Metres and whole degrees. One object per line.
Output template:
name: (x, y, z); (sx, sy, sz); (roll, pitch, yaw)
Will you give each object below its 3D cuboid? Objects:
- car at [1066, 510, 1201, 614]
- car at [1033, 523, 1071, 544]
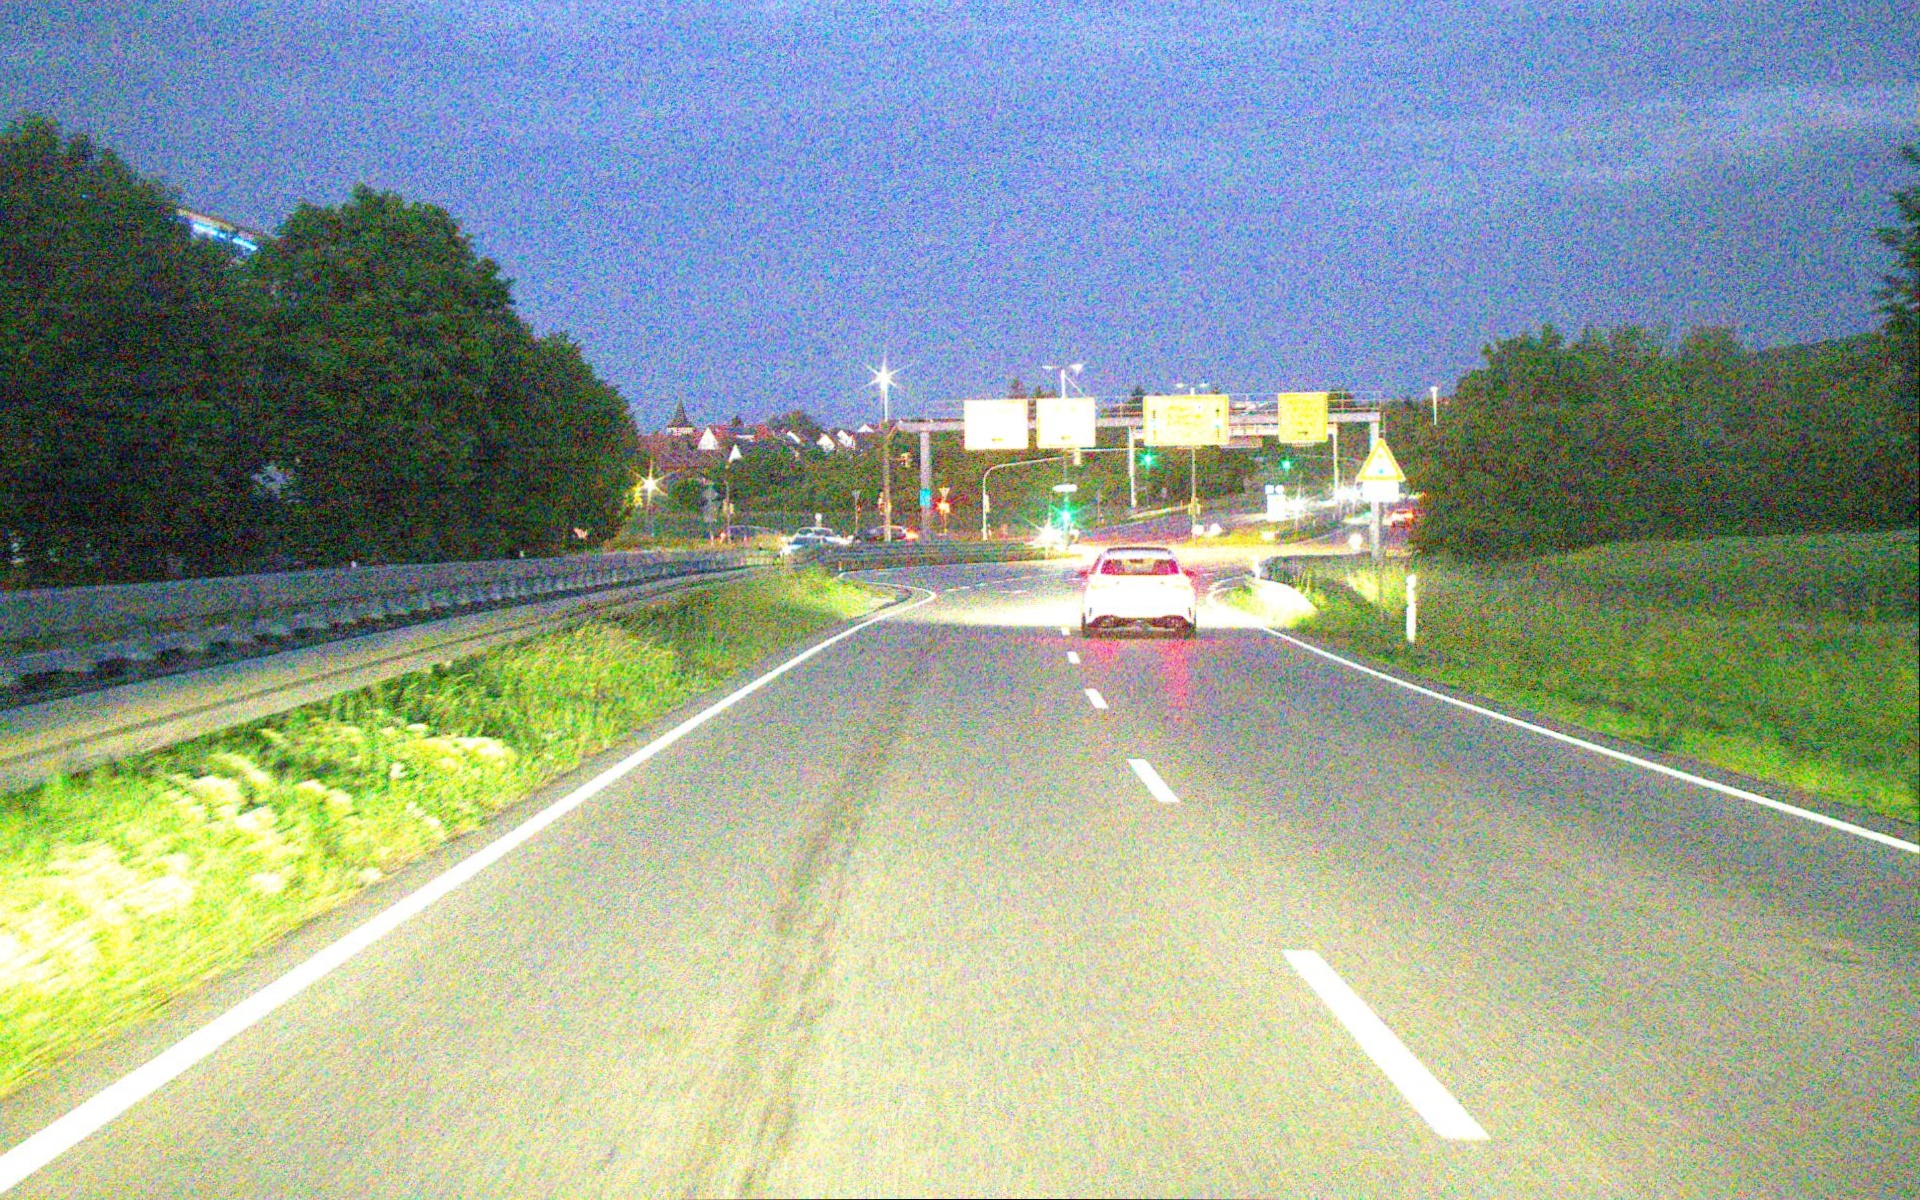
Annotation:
car: (2.780, -0.627, 55.771); (2.007, 1.605, 3.845); (1, 1, 0)
car: (6.633, -4.781, 246.227); (1.994, 1.420, 4.530); (1, 2, 11)
